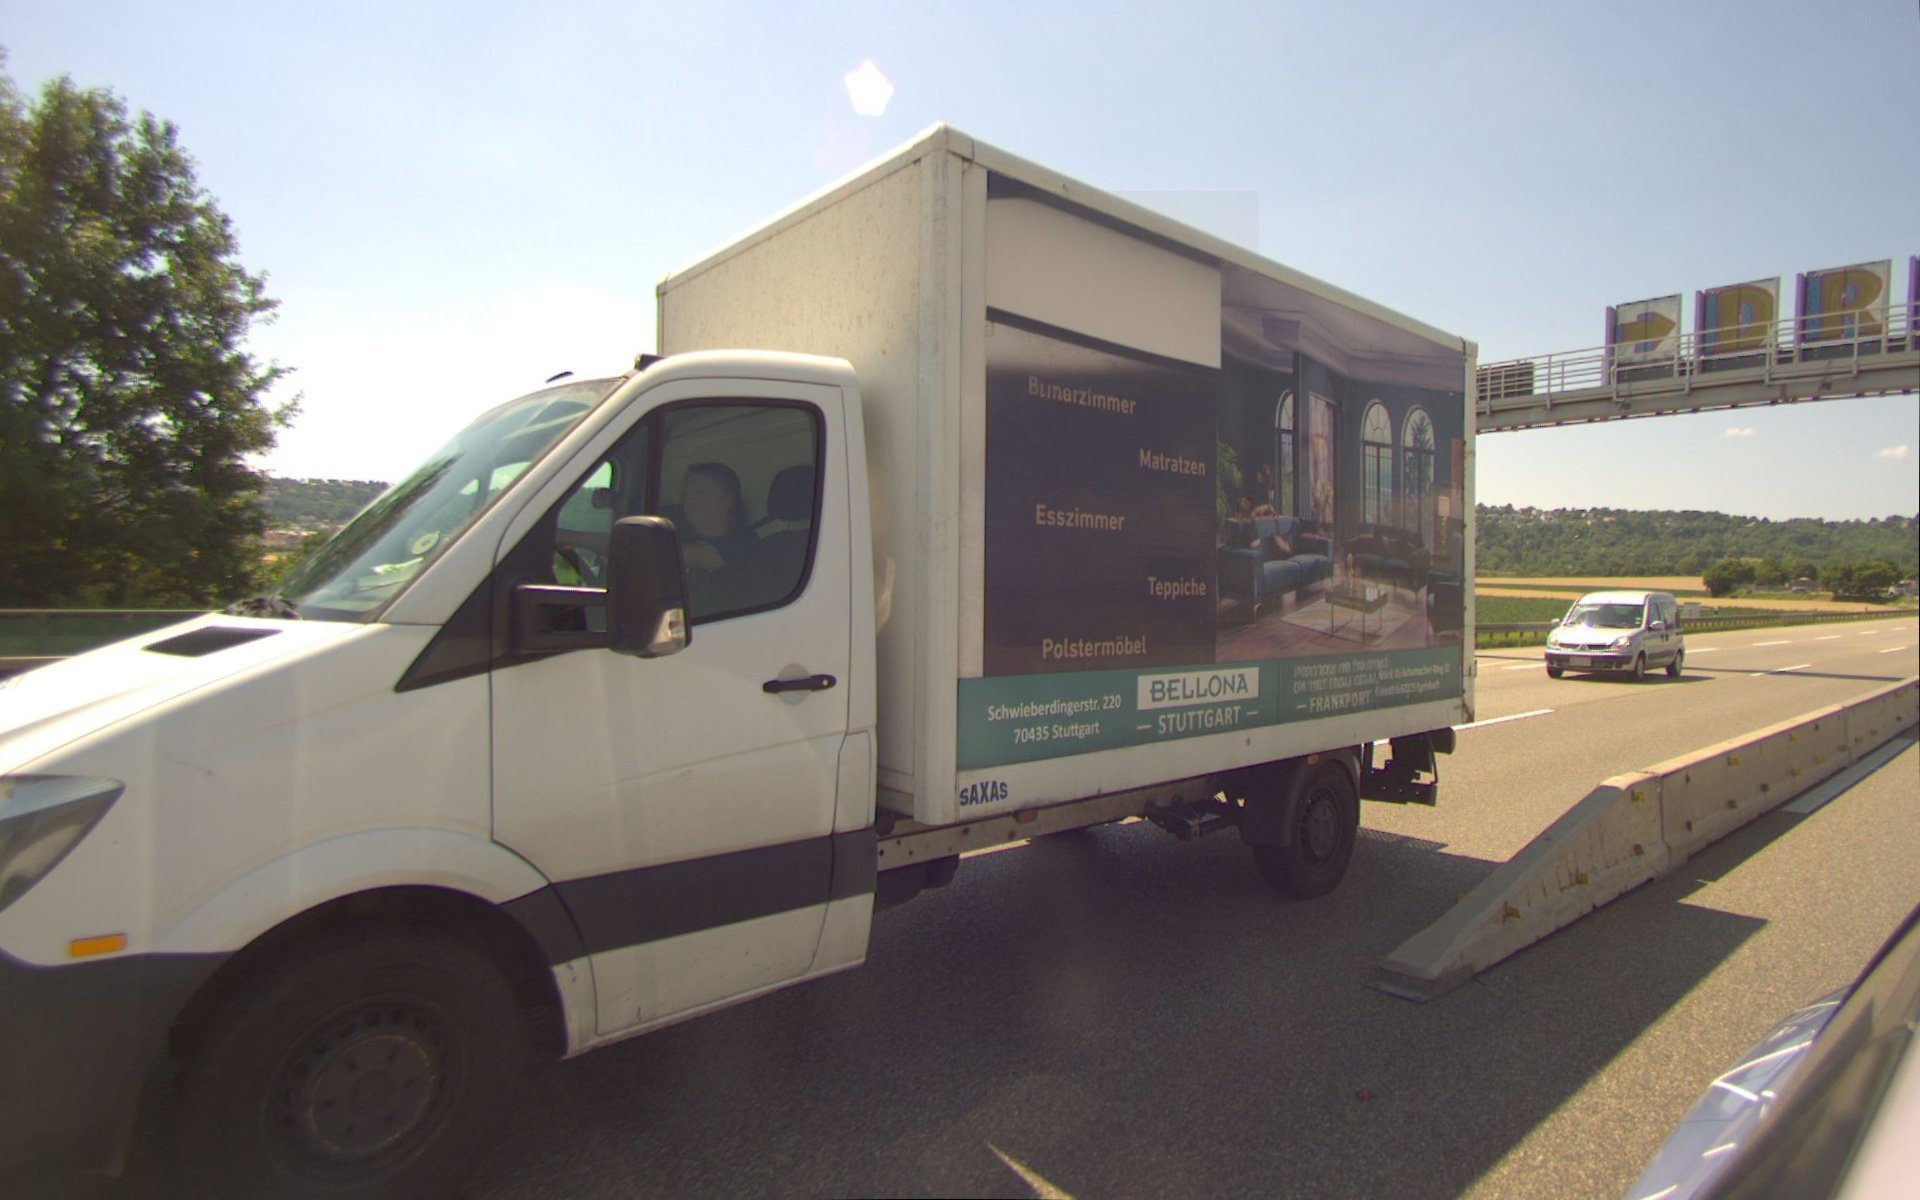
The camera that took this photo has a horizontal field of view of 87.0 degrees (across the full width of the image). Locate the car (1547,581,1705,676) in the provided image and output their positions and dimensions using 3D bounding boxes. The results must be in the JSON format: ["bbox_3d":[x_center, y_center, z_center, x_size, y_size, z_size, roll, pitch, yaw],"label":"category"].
[{"bbox_3d":[13.577,0.535,20.560,3.901,1.759,1.630,1,0,-40],"label":"car"}]

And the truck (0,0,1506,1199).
[{"bbox_3d":[0.013,-0.134,4.777,6.632,3.106,2.325,1,0,-41],"label":"truck"}]
